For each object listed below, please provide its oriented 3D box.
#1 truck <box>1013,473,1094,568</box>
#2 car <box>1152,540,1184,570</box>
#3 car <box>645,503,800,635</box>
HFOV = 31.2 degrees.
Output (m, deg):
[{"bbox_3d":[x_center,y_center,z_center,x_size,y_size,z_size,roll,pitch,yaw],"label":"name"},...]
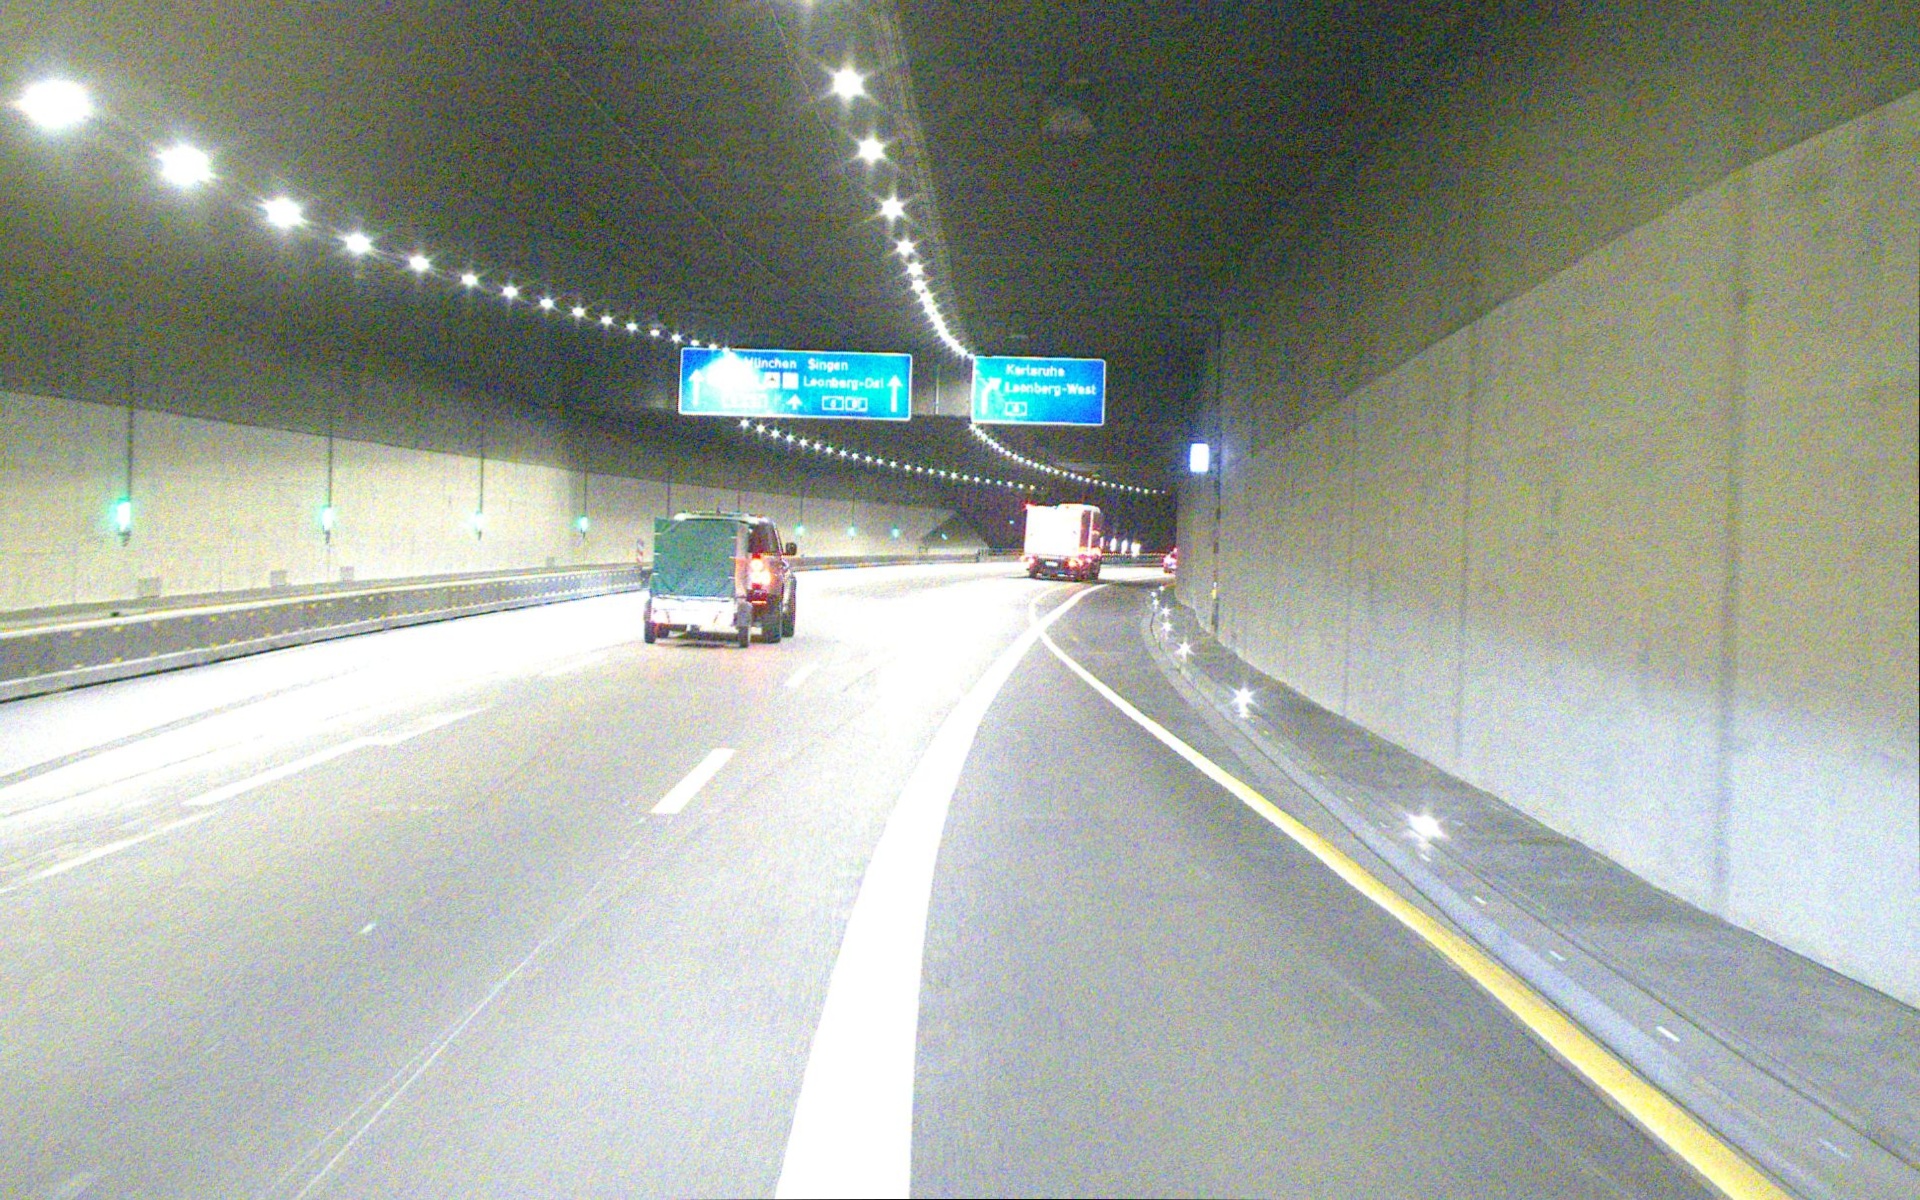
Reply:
[{"bbox_3d":[4.505,-3.781,163.758,3.474,4.301,10.951,2,1,3],"label":"truck"},{"bbox_3d":[13.550,-2.967,224.024,1.994,1.888,5.531,0,1,5],"label":"car"},{"bbox_3d":[-3.609,-0.431,53.123,1.993,1.889,5.453,0,-1,0],"label":"car"}]
